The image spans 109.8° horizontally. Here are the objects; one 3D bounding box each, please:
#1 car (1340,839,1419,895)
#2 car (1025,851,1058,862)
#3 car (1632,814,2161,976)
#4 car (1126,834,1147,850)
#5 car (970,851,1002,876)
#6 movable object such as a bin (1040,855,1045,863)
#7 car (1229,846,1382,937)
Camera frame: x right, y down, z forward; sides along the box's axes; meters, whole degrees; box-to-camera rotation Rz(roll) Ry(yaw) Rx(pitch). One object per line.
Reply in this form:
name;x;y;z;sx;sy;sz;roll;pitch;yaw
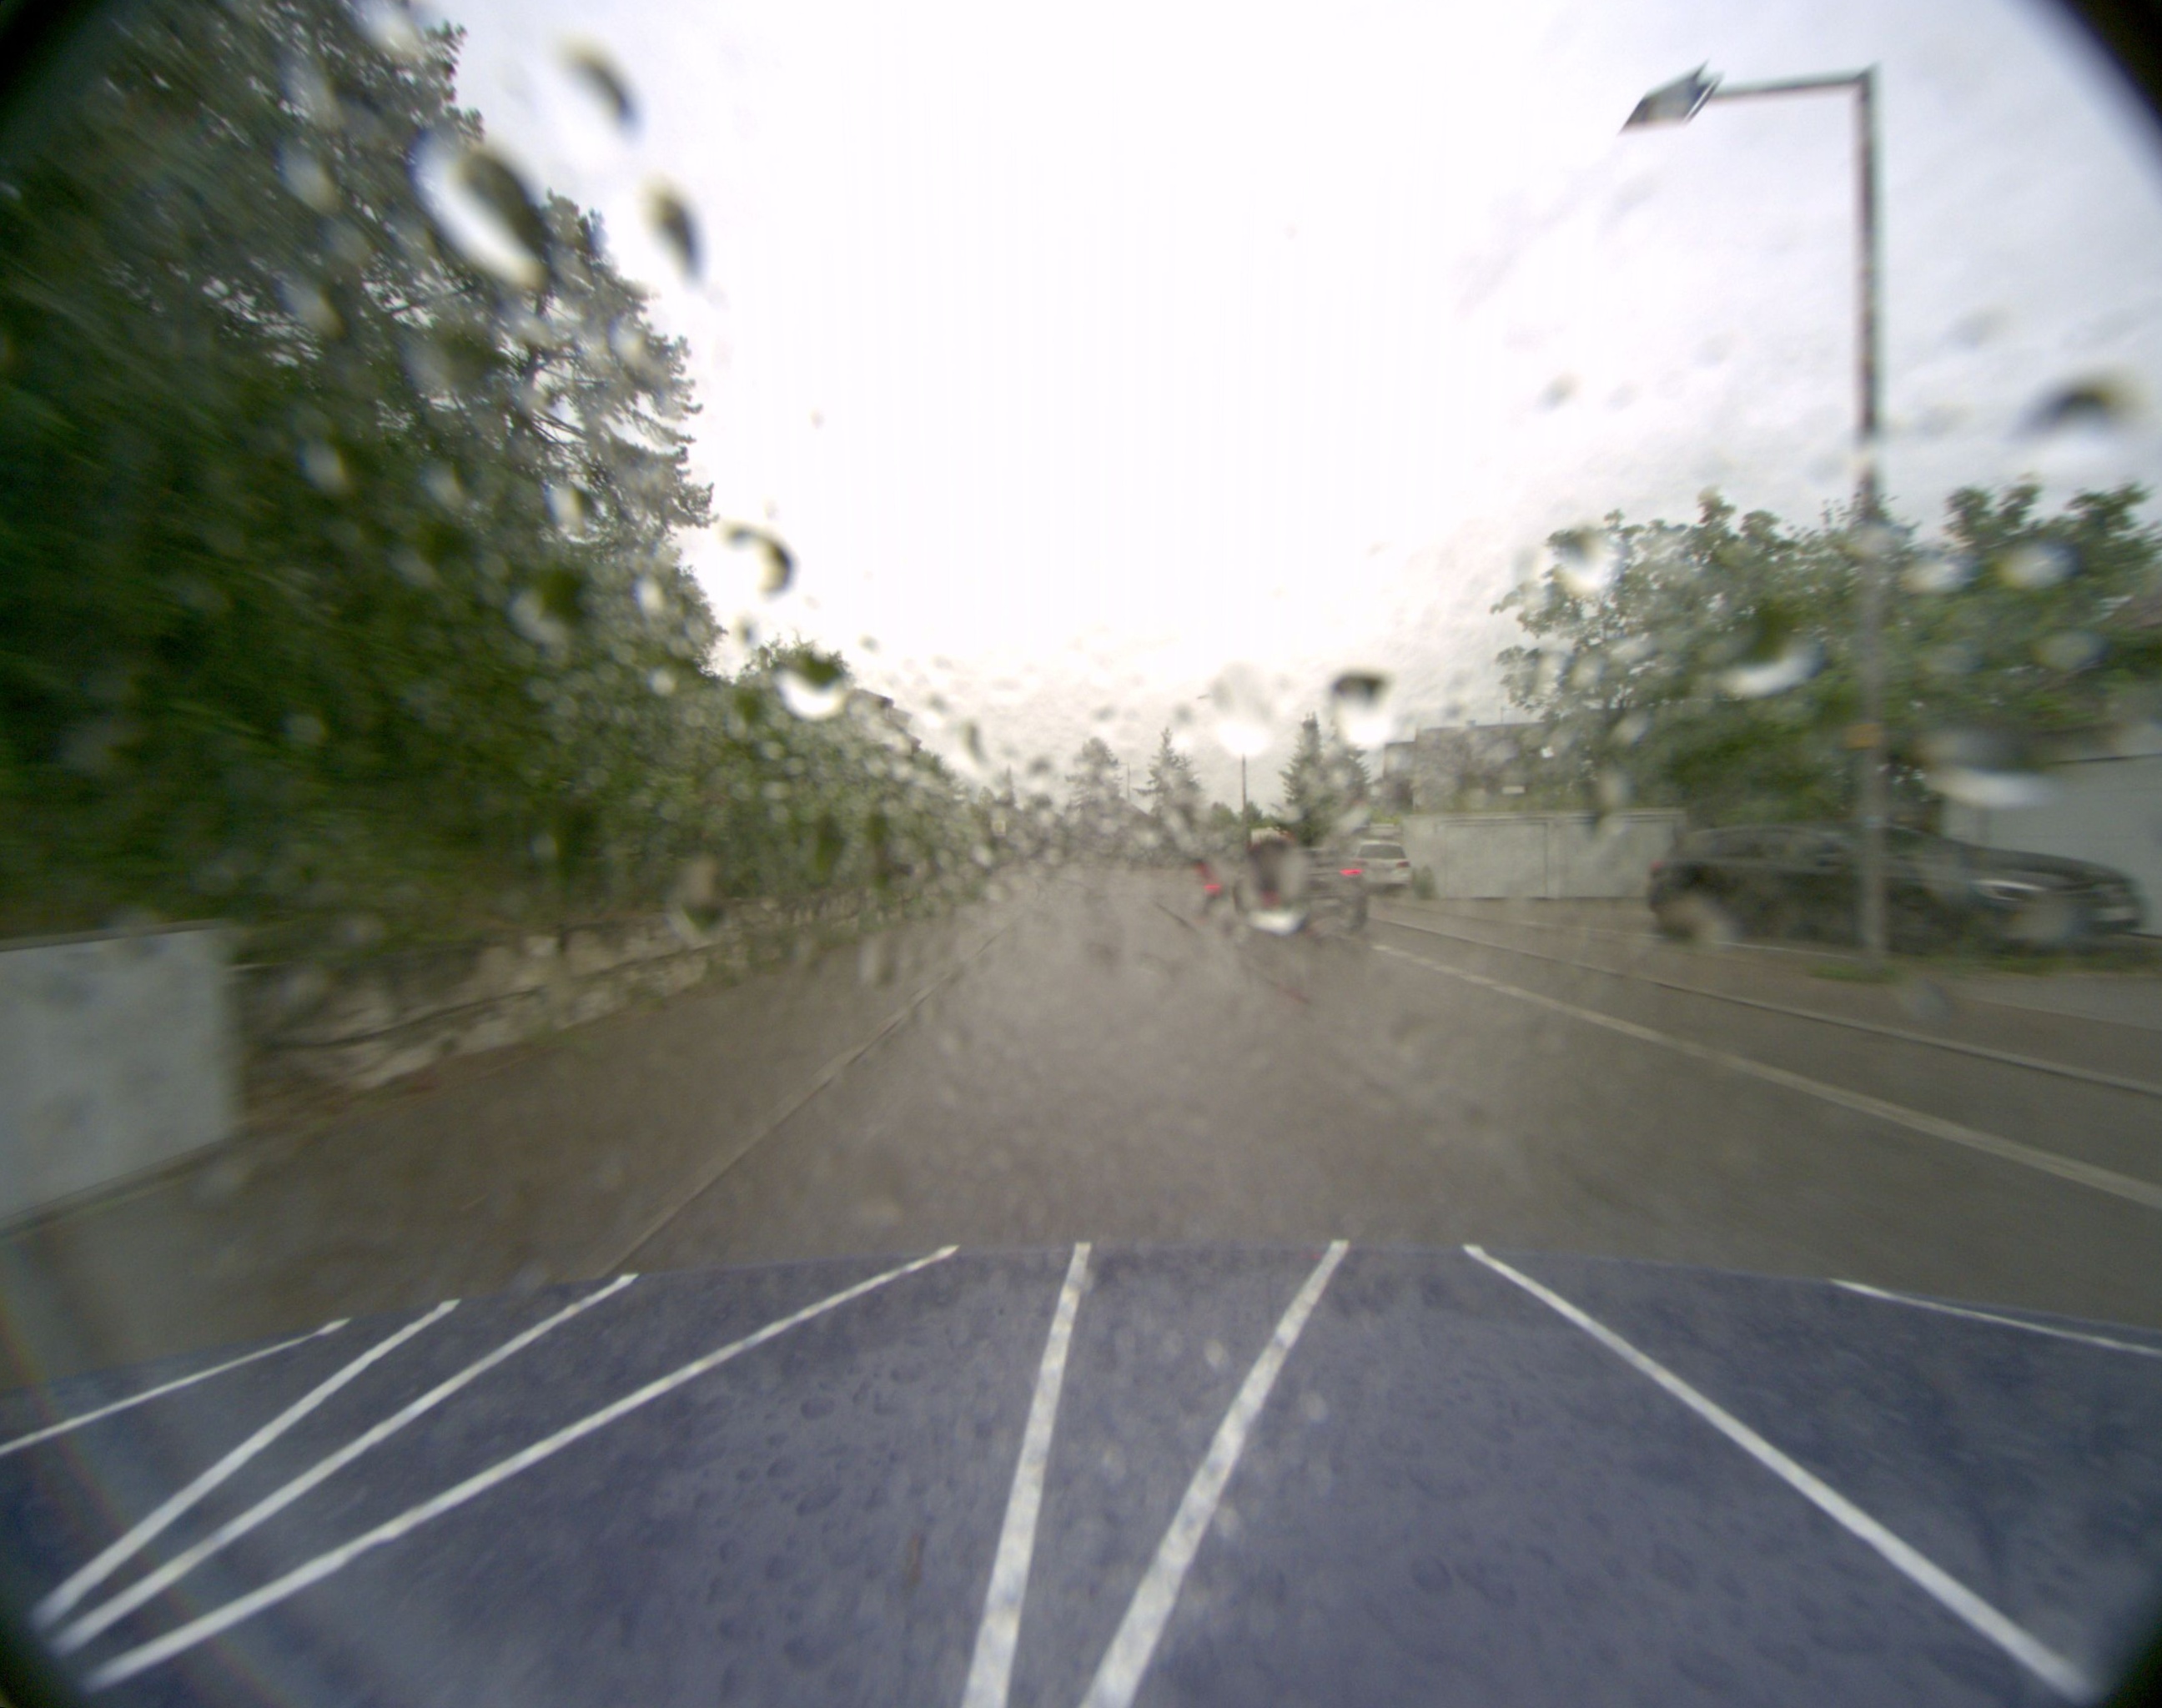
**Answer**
car;9.259;0.333;23.847;1.707;1.544;4.393;-2;1;14
car;-5.180;0.332;99.690;4.002;1.264;1.871;-3;1;-15
car;9.252;0.359;9.064;1.840;1.397;4.256;-3;0;-9
car;5.701;-1.251;78.038;1.998;1.565;4.000;-2;1;3
car;-5.981;0.573;47.496;1.711;1.445;4.017;1;0;-11
movable object such as a bin;-4.621;0.592;90.423;0.372;0.982;0.557;-2;1;-22
car;4.167;0.623;14.749;1.855;1.461;3.699;-3;0;0
